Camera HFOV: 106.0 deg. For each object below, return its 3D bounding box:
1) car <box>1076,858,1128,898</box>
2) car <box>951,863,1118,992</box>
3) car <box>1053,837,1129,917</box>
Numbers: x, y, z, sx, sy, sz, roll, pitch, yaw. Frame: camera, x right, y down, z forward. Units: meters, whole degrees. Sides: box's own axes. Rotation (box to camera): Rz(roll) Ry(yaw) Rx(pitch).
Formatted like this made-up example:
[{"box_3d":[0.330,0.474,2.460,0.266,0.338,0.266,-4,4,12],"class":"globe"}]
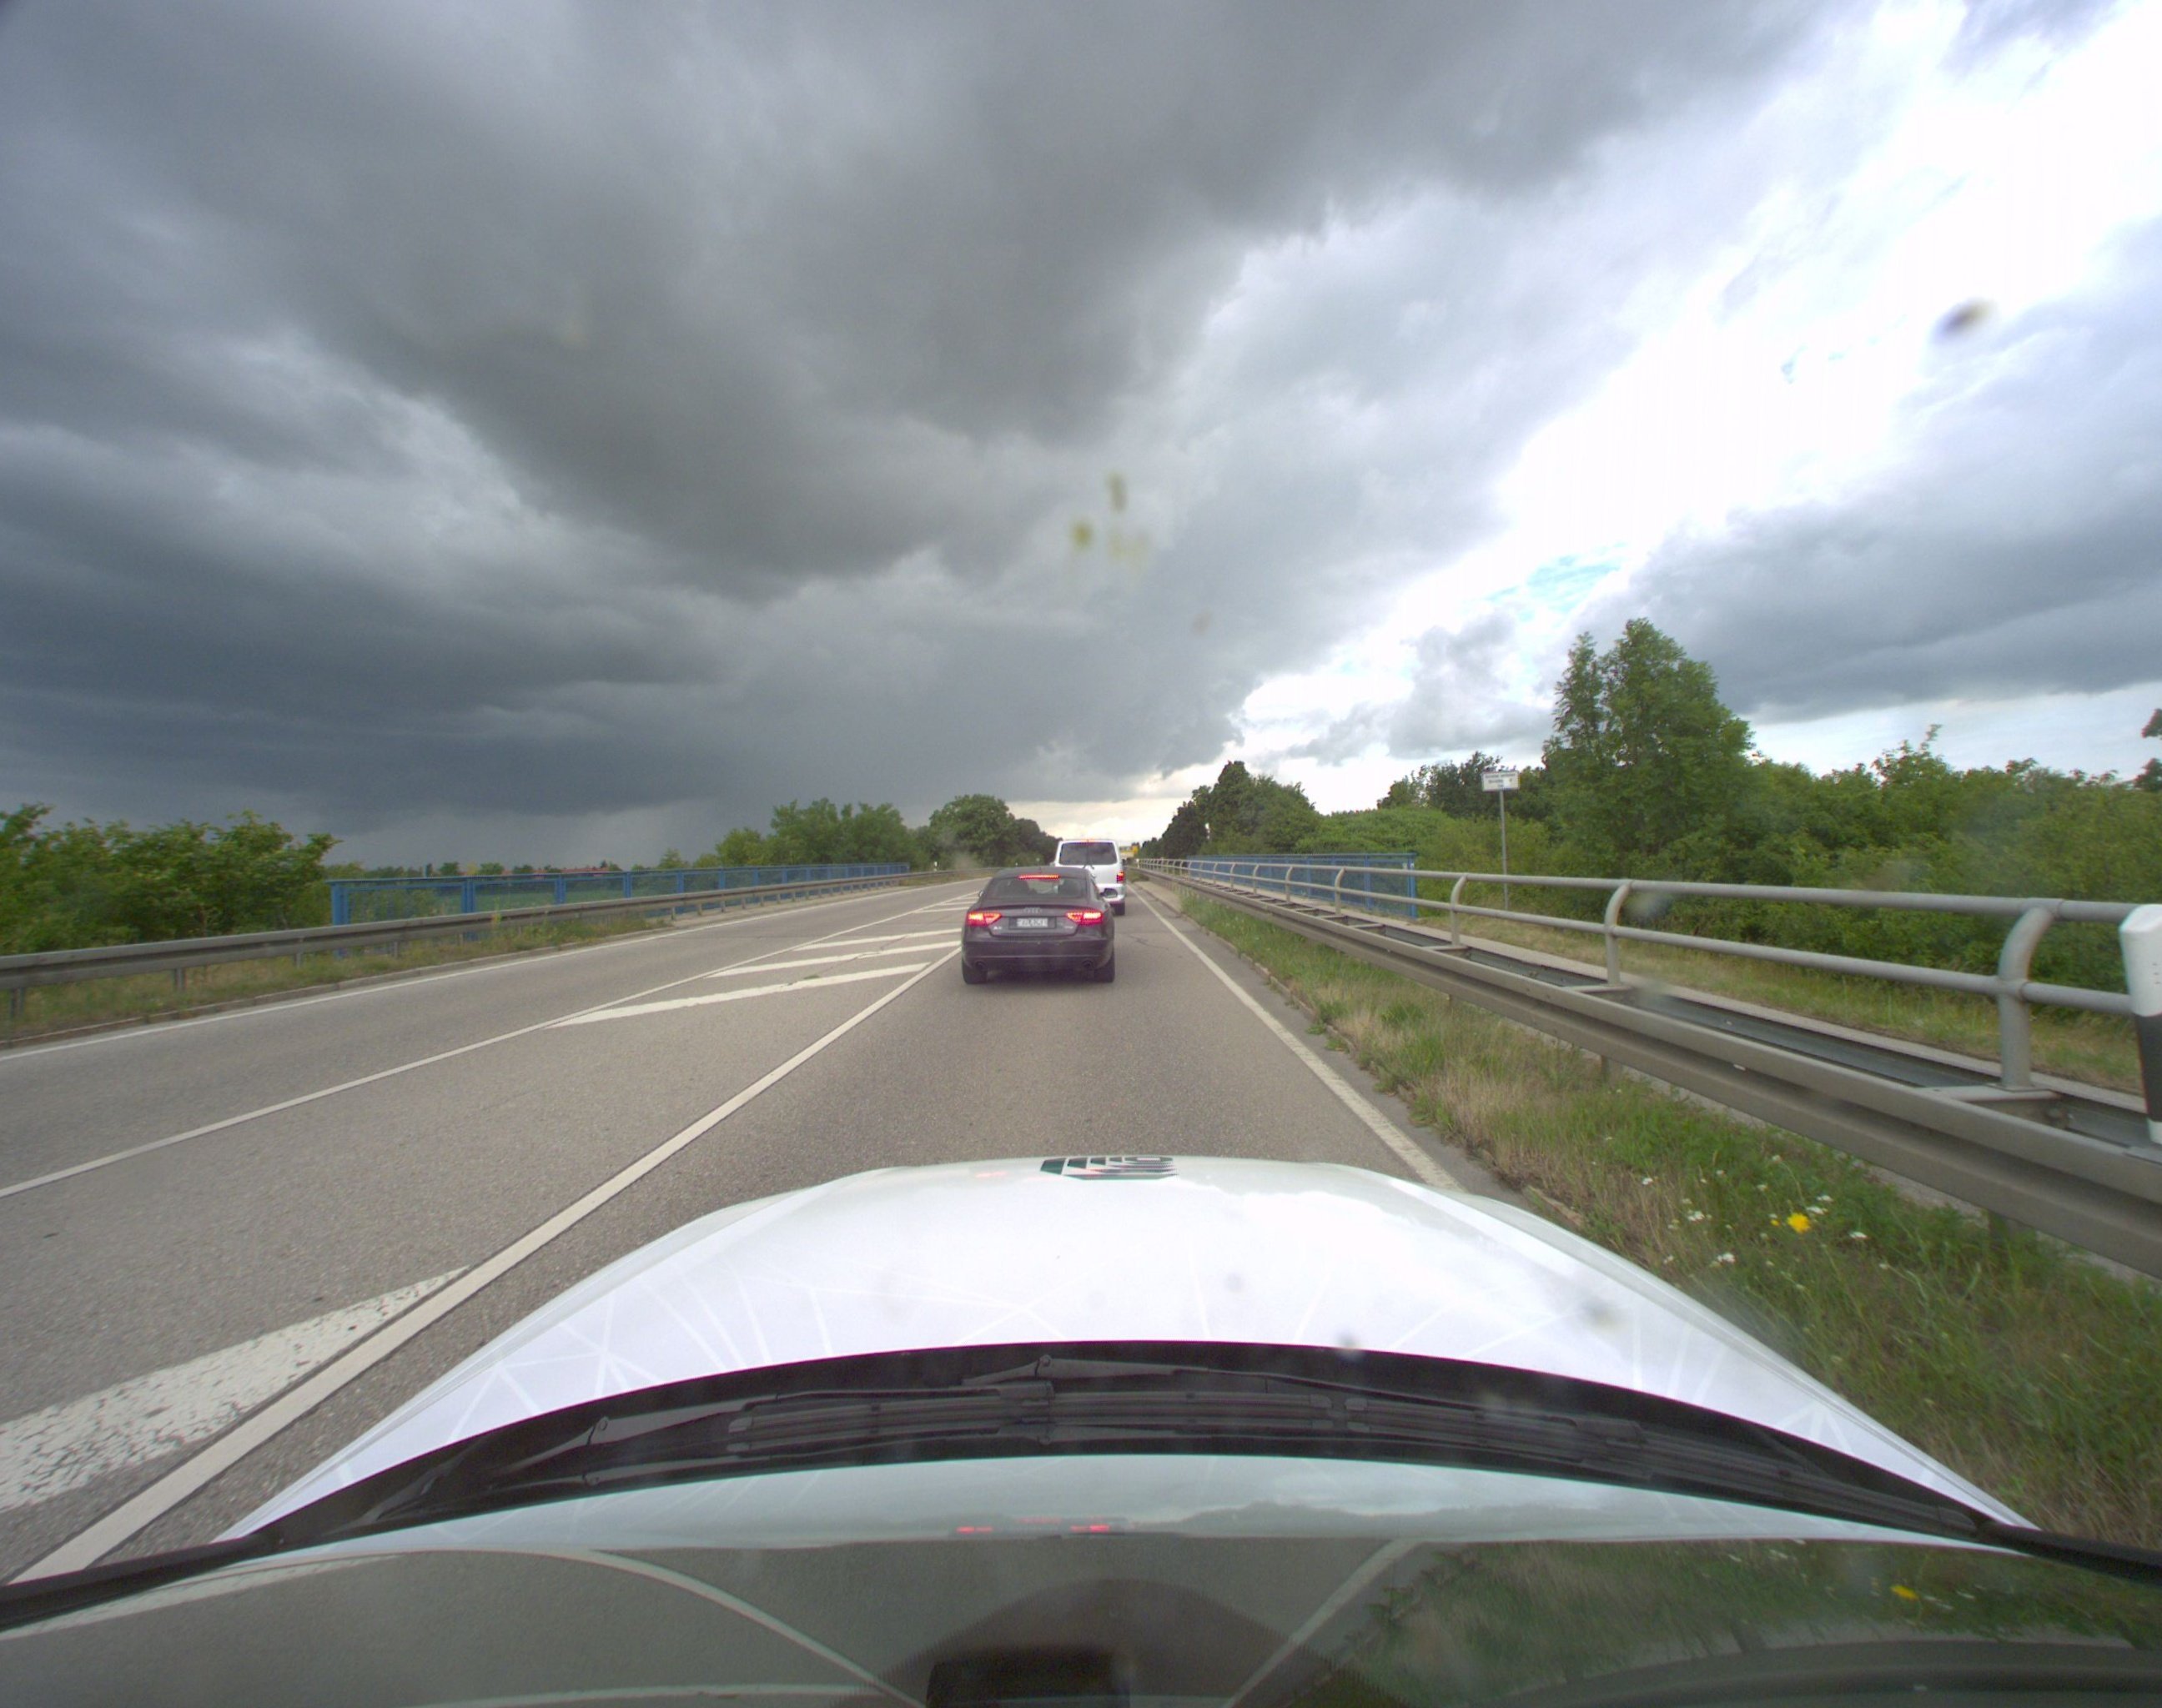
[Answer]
[{"box_3d":[0.831,0.866,31.081,1.814,1.381,4.074,-1,0,2],"class":"car"},{"box_3d":[-0.427,0.823,10.915,1.814,1.381,4.074,-1,0,2],"class":"car"},{"box_3d":[0.280,0.579,21.991,1.822,1.935,4.001,-2,-1,1],"class":"car"}]
